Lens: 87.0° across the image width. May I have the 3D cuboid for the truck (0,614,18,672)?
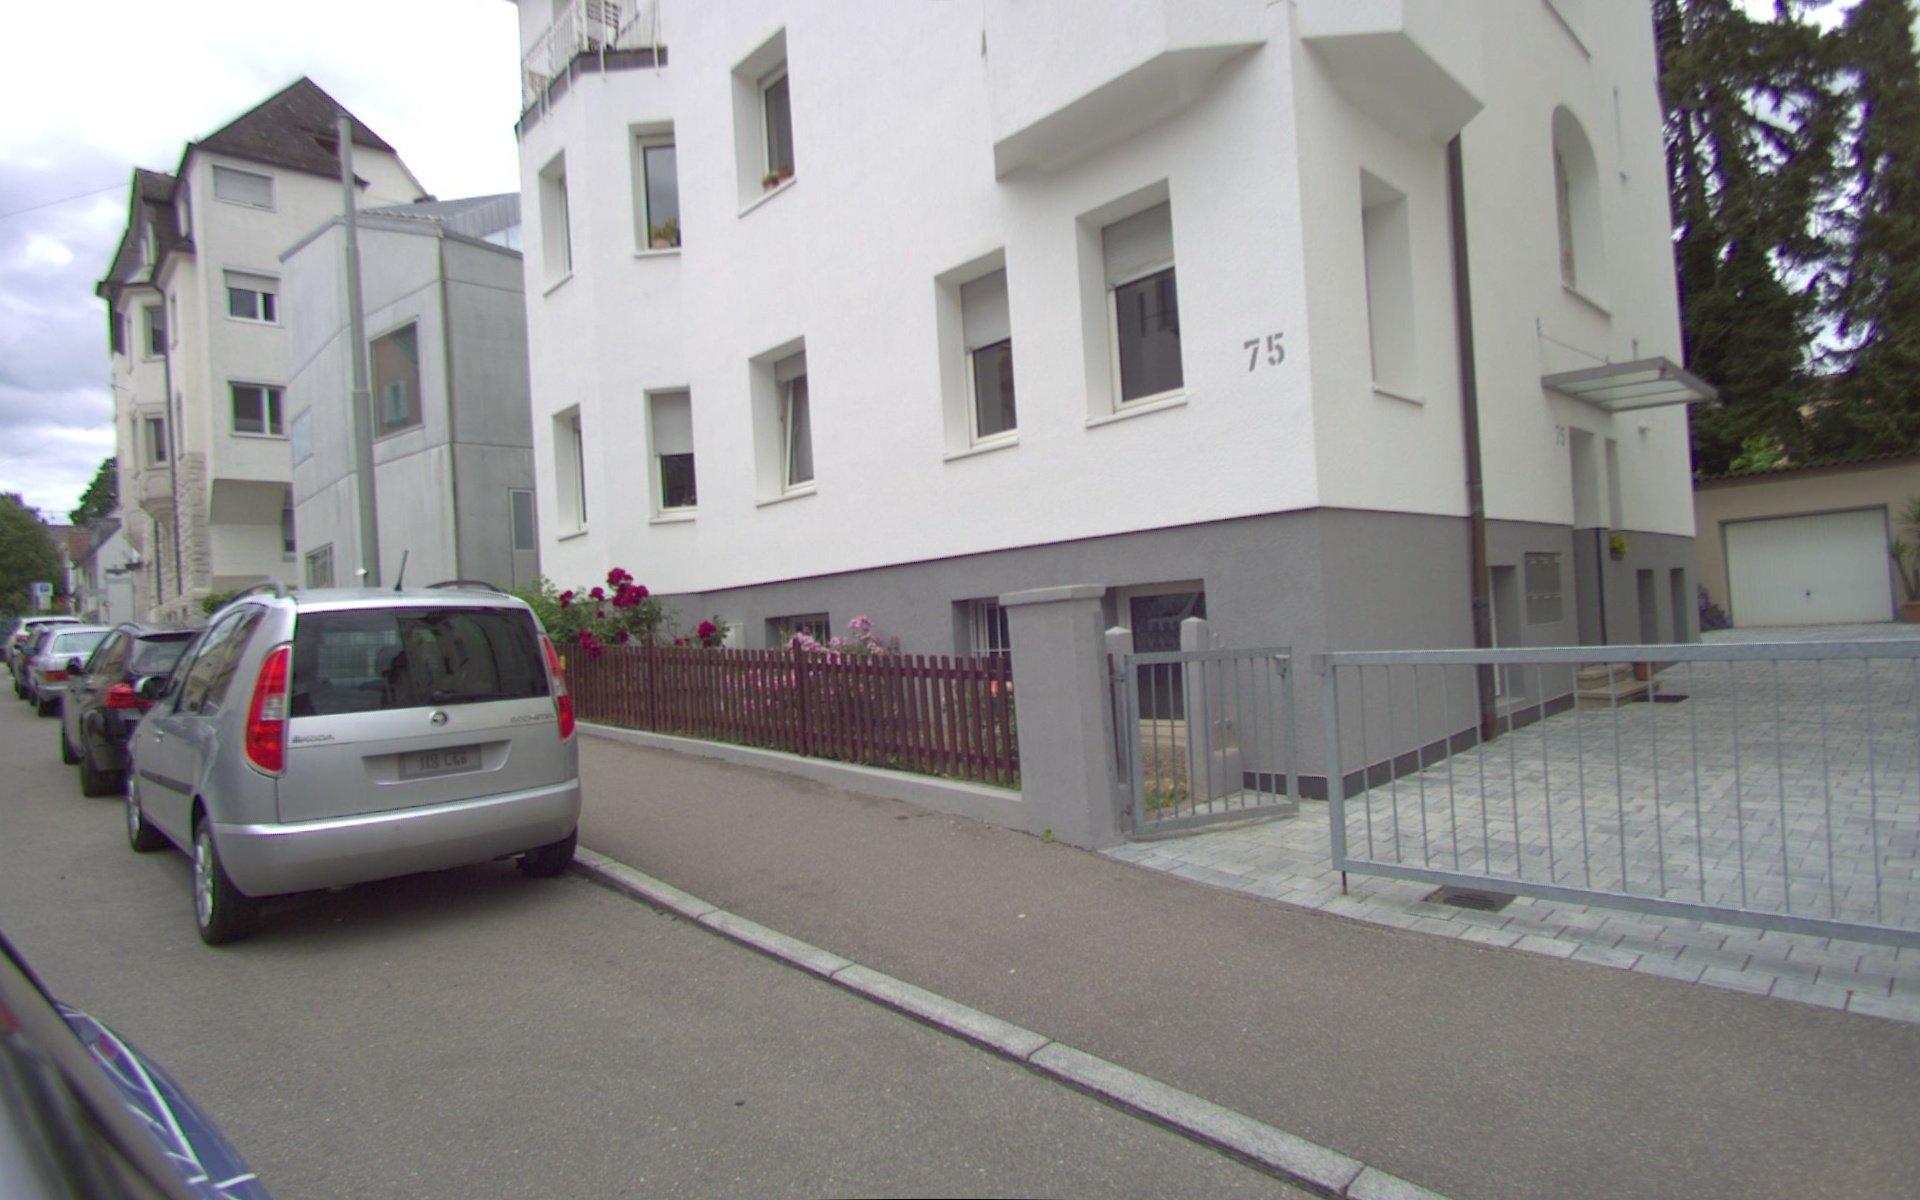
[{"bbox_3d":[-46.763,2.148,48.369,6.290,2.571,2.284,-5,-4,45],"label":"truck"}]

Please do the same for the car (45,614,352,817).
[{"bbox_3d":[-7.518,0.907,9.790,1.823,1.468,4.508,-1,0,-44],"label":"car"}]

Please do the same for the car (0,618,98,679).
[{"bbox_3d":[-26.126,1.366,28.927,4.241,1.527,1.824,-3,0,44],"label":"car"}]

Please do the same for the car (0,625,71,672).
[{"bbox_3d":[-31.707,1.636,34.527,4.241,1.424,1.680,-3,0,44],"label":"car"}]

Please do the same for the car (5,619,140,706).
[{"bbox_3d":[-18.661,1.209,21.210,1.874,1.538,4.474,-2,1,-44],"label":"car"}]

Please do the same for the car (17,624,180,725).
[{"bbox_3d":[-15.067,1.171,17.591,1.823,1.423,5.065,-2,0,-44],"label":"car"}]

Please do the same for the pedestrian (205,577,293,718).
[{"bbox_3d":[-10.018,0.647,14.293,0.805,1.899,0.850,-1,-1,-22],"label":"pedestrian"}]

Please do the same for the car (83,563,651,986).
[{"bbox_3d":[-3.800,0.723,6.087,4.287,1.643,1.824,-3,0,44],"label":"car"}]
